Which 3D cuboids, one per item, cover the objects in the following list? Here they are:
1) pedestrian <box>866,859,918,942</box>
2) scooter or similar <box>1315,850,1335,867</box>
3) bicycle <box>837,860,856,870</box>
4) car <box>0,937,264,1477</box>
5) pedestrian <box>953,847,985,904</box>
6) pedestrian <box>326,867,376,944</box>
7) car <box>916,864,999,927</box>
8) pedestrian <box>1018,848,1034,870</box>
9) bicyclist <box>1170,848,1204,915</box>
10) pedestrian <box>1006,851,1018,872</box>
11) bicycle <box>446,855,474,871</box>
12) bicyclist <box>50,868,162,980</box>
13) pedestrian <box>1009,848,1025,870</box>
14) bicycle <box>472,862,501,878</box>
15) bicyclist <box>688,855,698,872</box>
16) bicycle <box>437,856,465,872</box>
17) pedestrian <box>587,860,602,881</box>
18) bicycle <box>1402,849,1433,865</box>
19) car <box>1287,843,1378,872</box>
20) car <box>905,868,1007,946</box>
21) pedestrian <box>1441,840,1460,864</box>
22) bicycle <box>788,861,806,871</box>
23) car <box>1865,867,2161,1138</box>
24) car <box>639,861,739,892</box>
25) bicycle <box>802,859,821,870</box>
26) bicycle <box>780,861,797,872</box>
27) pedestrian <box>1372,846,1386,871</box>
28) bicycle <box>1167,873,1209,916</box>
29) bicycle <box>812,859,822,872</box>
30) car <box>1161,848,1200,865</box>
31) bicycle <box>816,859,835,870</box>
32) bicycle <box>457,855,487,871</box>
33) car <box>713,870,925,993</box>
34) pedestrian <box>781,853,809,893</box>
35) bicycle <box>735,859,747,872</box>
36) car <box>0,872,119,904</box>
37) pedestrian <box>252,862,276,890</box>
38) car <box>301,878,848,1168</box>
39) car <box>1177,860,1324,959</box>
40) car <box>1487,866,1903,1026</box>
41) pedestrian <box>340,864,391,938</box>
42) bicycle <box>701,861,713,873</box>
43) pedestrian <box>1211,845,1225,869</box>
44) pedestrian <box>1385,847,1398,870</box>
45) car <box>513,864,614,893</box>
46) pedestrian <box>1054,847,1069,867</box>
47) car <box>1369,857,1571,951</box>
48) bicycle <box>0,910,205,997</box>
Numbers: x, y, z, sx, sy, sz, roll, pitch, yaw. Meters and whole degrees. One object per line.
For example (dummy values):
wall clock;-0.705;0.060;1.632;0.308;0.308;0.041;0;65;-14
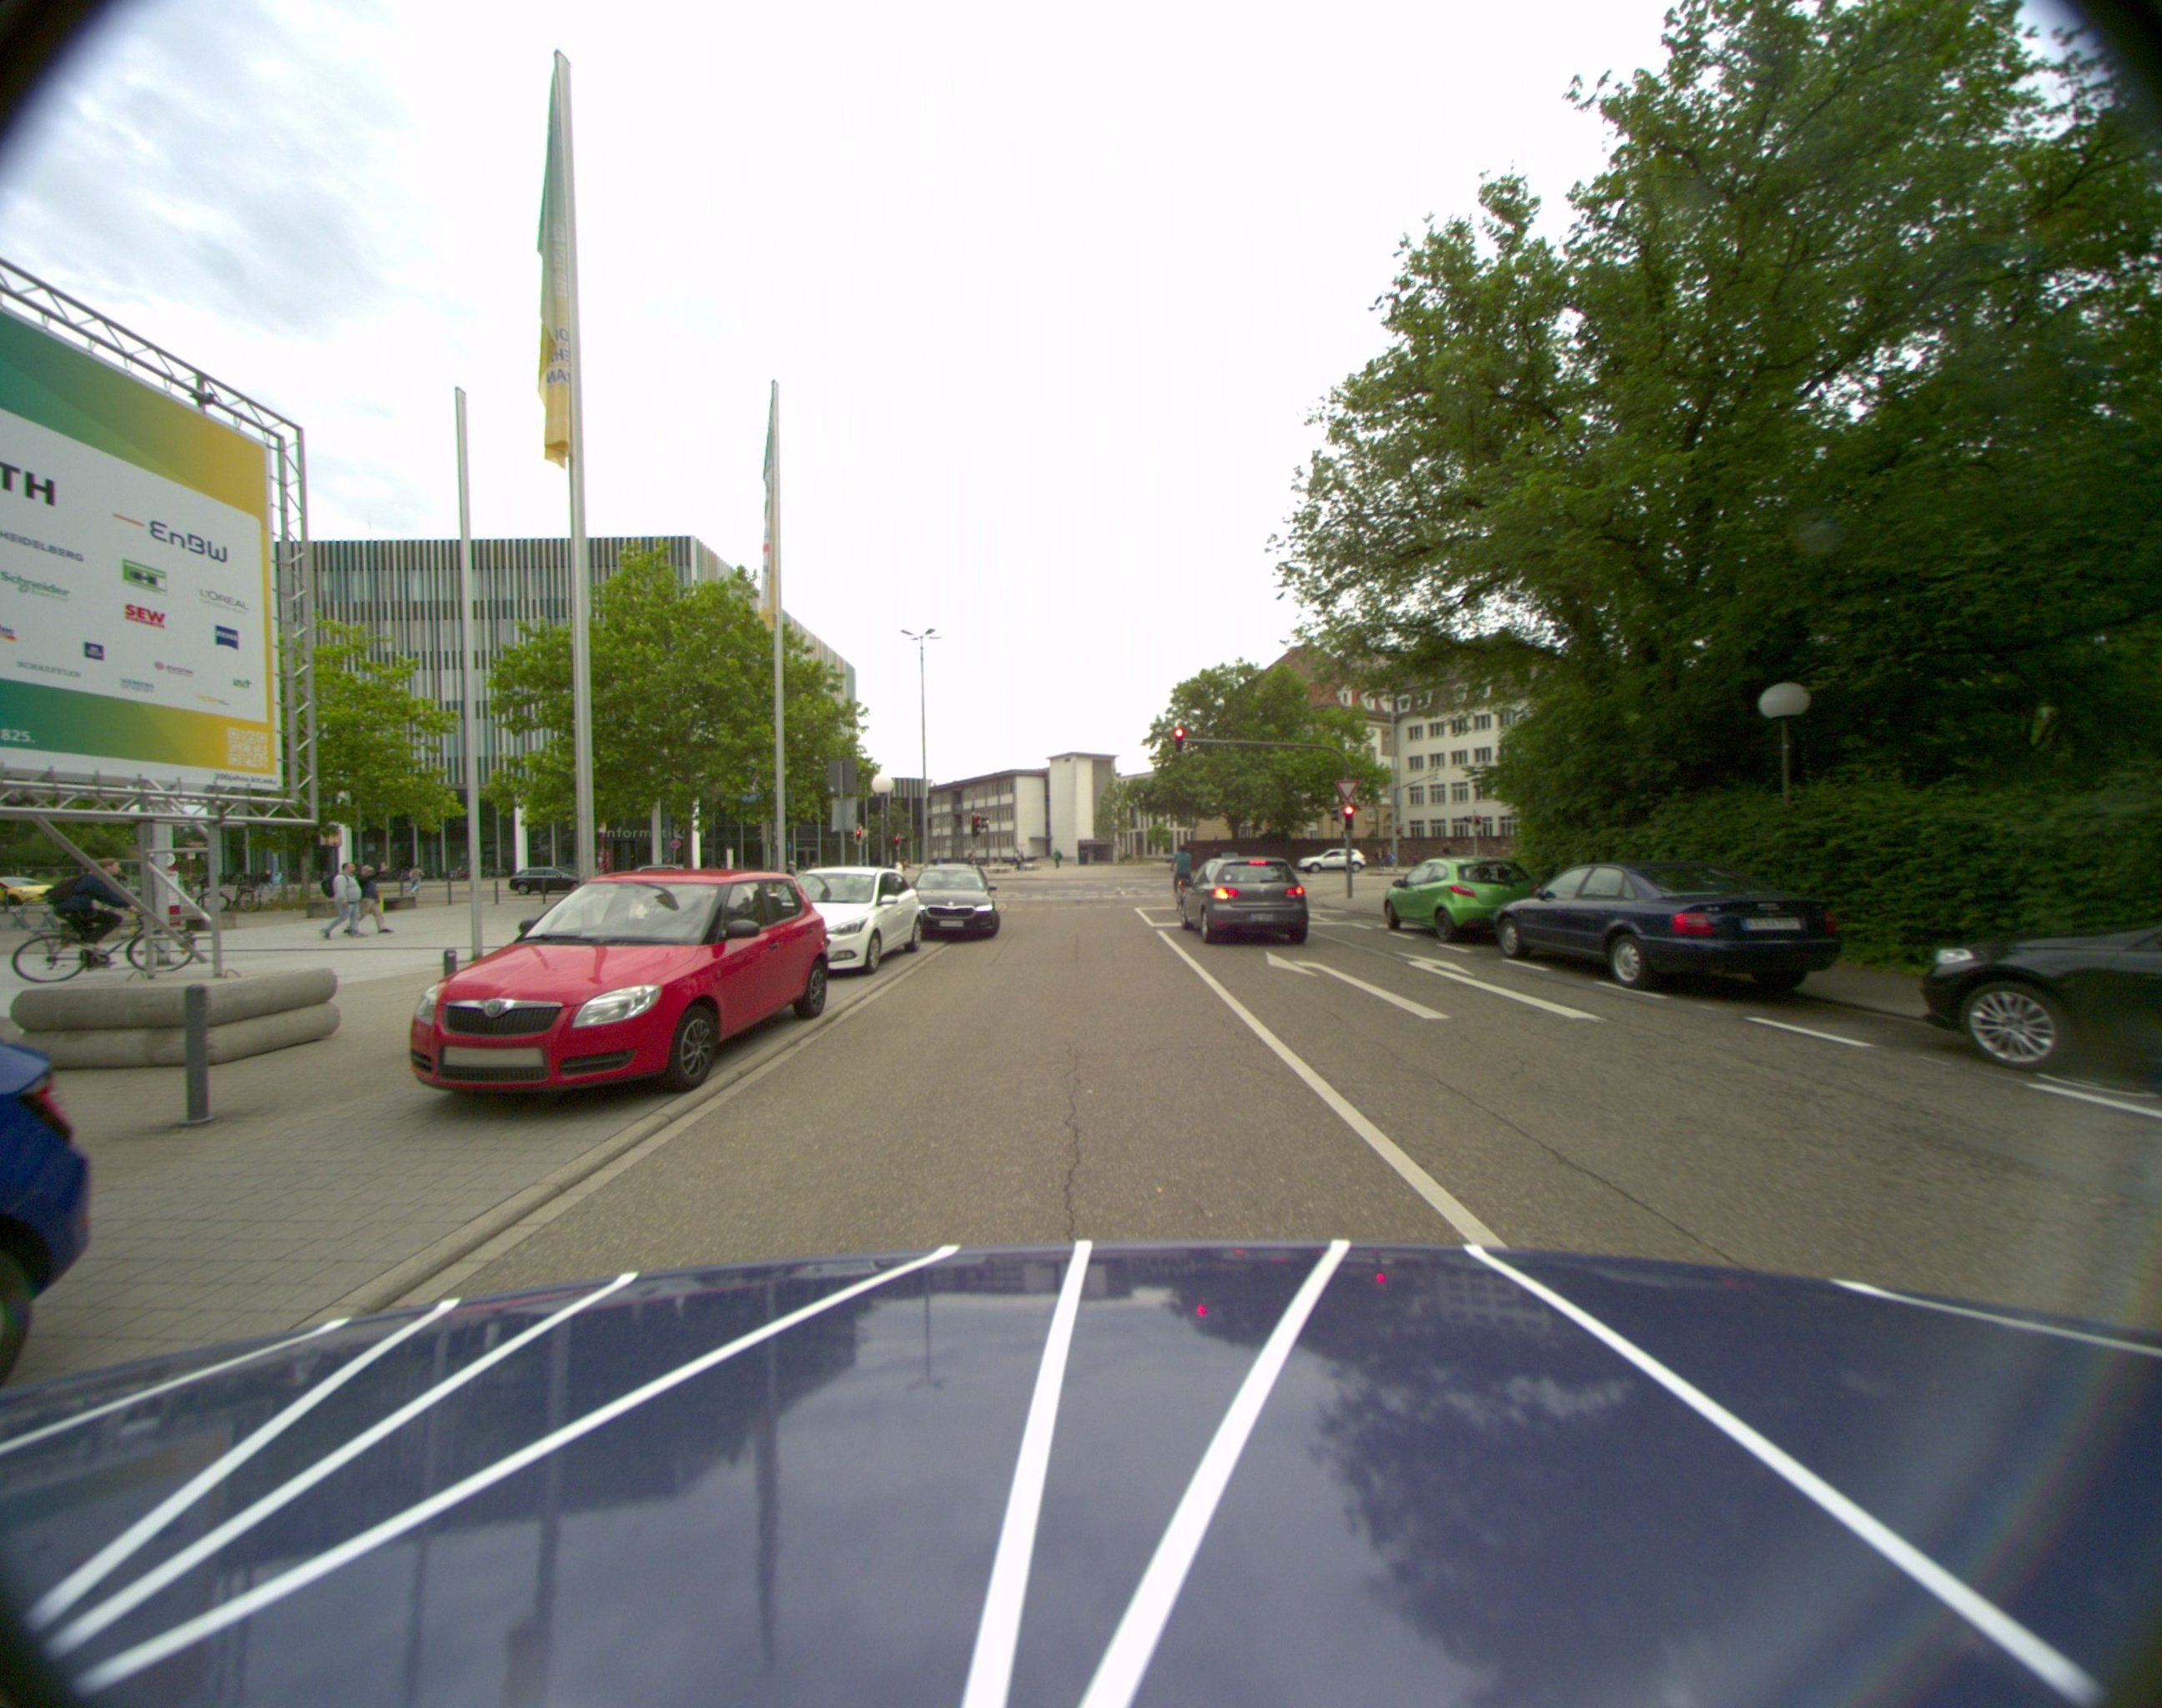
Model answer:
pedestrian;-4.197;1.018;16.888;0.792;1.777;0.822;-1;1;12
scooter or similar;18.508;0.331;57.688;1.410;1.223;0.496;0;3;19
bicycle;-21.722;1.029;70.344;2.004;0.931;0.485;0;2;32
car;-3.745;1.028;0.554;1.700;1.403;4.375;0;1;-3
pedestrian;-3.914;0.746;26.536;0.791;1.941;0.759;0;1;28
pedestrian;-16.869;1.166;17.561;0.586;1.705;0.656;-1;1;-21
car;-3.424;1.098;21.719;1.626;1.493;4.105;1;1;1
pedestrian;-4.512;0.425;62.256;0.848;1.778;0.892;-2;1;-42
bicyclist;2.865;0.724;20.584;0.659;1.769;0.983;-1;1;-7
pedestrian;-5.500;0.564;60.463;0.619;1.656;0.623;-2;1;-44
bicycle;-51.356;0.792;62.824;0.628;1.251;2.105;-2;-2;-1
bicyclist;-15.067;1.046;11.749;0.874;1.631;0.869;-1;0;26
pedestrian;-5.203;0.397;61.651;0.848;1.778;0.892;-2;1;-42
bicycle;-49.211;1.331;62.891;0.628;1.251;2.106;-2;-2;5
bicyclist;-33.497;0.820;65.598;0.483;1.460;0.606;-1;1;18
bicycle;-52.020;0.815;62.767;0.628;1.251;2.105;-2;-2;-1
pedestrian;-42.132;1.434;65.807;0.762;1.778;0.802;0;1;1
bicycle;25.701;0.240;57.982;2.156;1.178;0.582;-1;2;-8
car;16.663;0.238;50.633;5.368;1.687;2.049;-2;-2;4
car;-2.877;1.065;16.674;1.867;1.393;4.473;1;0;-13
pedestrian;27.249;-0.153;56.079;1.006;1.779;0.757;-1;2;-1
bicycle;-25.126;1.059;67.186;2.004;0.930;0.550;-1;1;40
car;7.216;0.872;3.856;1.802;1.551;4.530;-1;0;0
car;-20.887;1.171;40.617;4.289;1.481;2.000;-1;1;0
bicycle;-23.999;0.921;67.620;2.004;0.931;0.485;0;2;32
bicycle;-25.651;1.060;66.661;2.004;0.930;0.485;-1;1;40
pedestrian;21.634;0.326;55.165;0.670;1.729;0.735;-1;2;-3
bicycle;2.872;1.077;20.596;0.659;1.031;1.856;-1;1;-7
bicycle;-21.104;0.905;60.794;0.484;1.039;1.779;-2;2;-28
car;12.457;0.302;94.806;4.409;1.570;1.998;-2;-9;-34
bicycle;-23.050;0.921;68.582;2.004;0.931;0.485;0;2;32
bicycle;-50.400;0.761;62.915;0.628;1.251;2.106;-2;-2;5
car;-3.724;1.025;11.584;1.865;1.444;3.858;-1;0;0
pedestrian;-11.977;0.792;31.796;0.756;1.617;0.794;-1;1;14
bicycle;-28.884;0.942;64.517;0.485;1.039;1.911;-2;2;-39
car;-55.752;1.841;41.403;4.190;1.608;2.000;-1;0;3
pedestrian;-52.373;1.406;48.685;0.588;1.799;0.809;-1;1;4
car;-3.482;1.015;6.377;1.716;1.464;4.273;1;0;0
car;2.931;0.888;14.059;1.787;1.488;4.167;-1;1;0
car;6.922;0.901;9.319;1.802;1.400;4.337;-1;1;4
pedestrian;-17.233;1.114;18.309;0.674;1.705;0.677;-1;1;-24
bicycle;-32.566;1.093;66.201;0.485;1.039;1.911;-2;1;-39
pedestrian;10.168;0.238;56.323;0.809;1.654;0.791;-2;-3;-3
pedestrian;22.496;0.321;55.033;0.642;1.684;0.779;-1;2;-1
car;-27.799;1.284;40.949;3.998;1.444;1.999;-1;0;-3
pedestrian;-1.728;0.254;66.669;0.948;1.705;0.908;0;2;42
car;7.154;0.830;14.539;1.802;1.461;4.248;-1;1;2
bicycle;-15.067;1.478;11.746;0.874;1.087;1.804;-1;0;26
